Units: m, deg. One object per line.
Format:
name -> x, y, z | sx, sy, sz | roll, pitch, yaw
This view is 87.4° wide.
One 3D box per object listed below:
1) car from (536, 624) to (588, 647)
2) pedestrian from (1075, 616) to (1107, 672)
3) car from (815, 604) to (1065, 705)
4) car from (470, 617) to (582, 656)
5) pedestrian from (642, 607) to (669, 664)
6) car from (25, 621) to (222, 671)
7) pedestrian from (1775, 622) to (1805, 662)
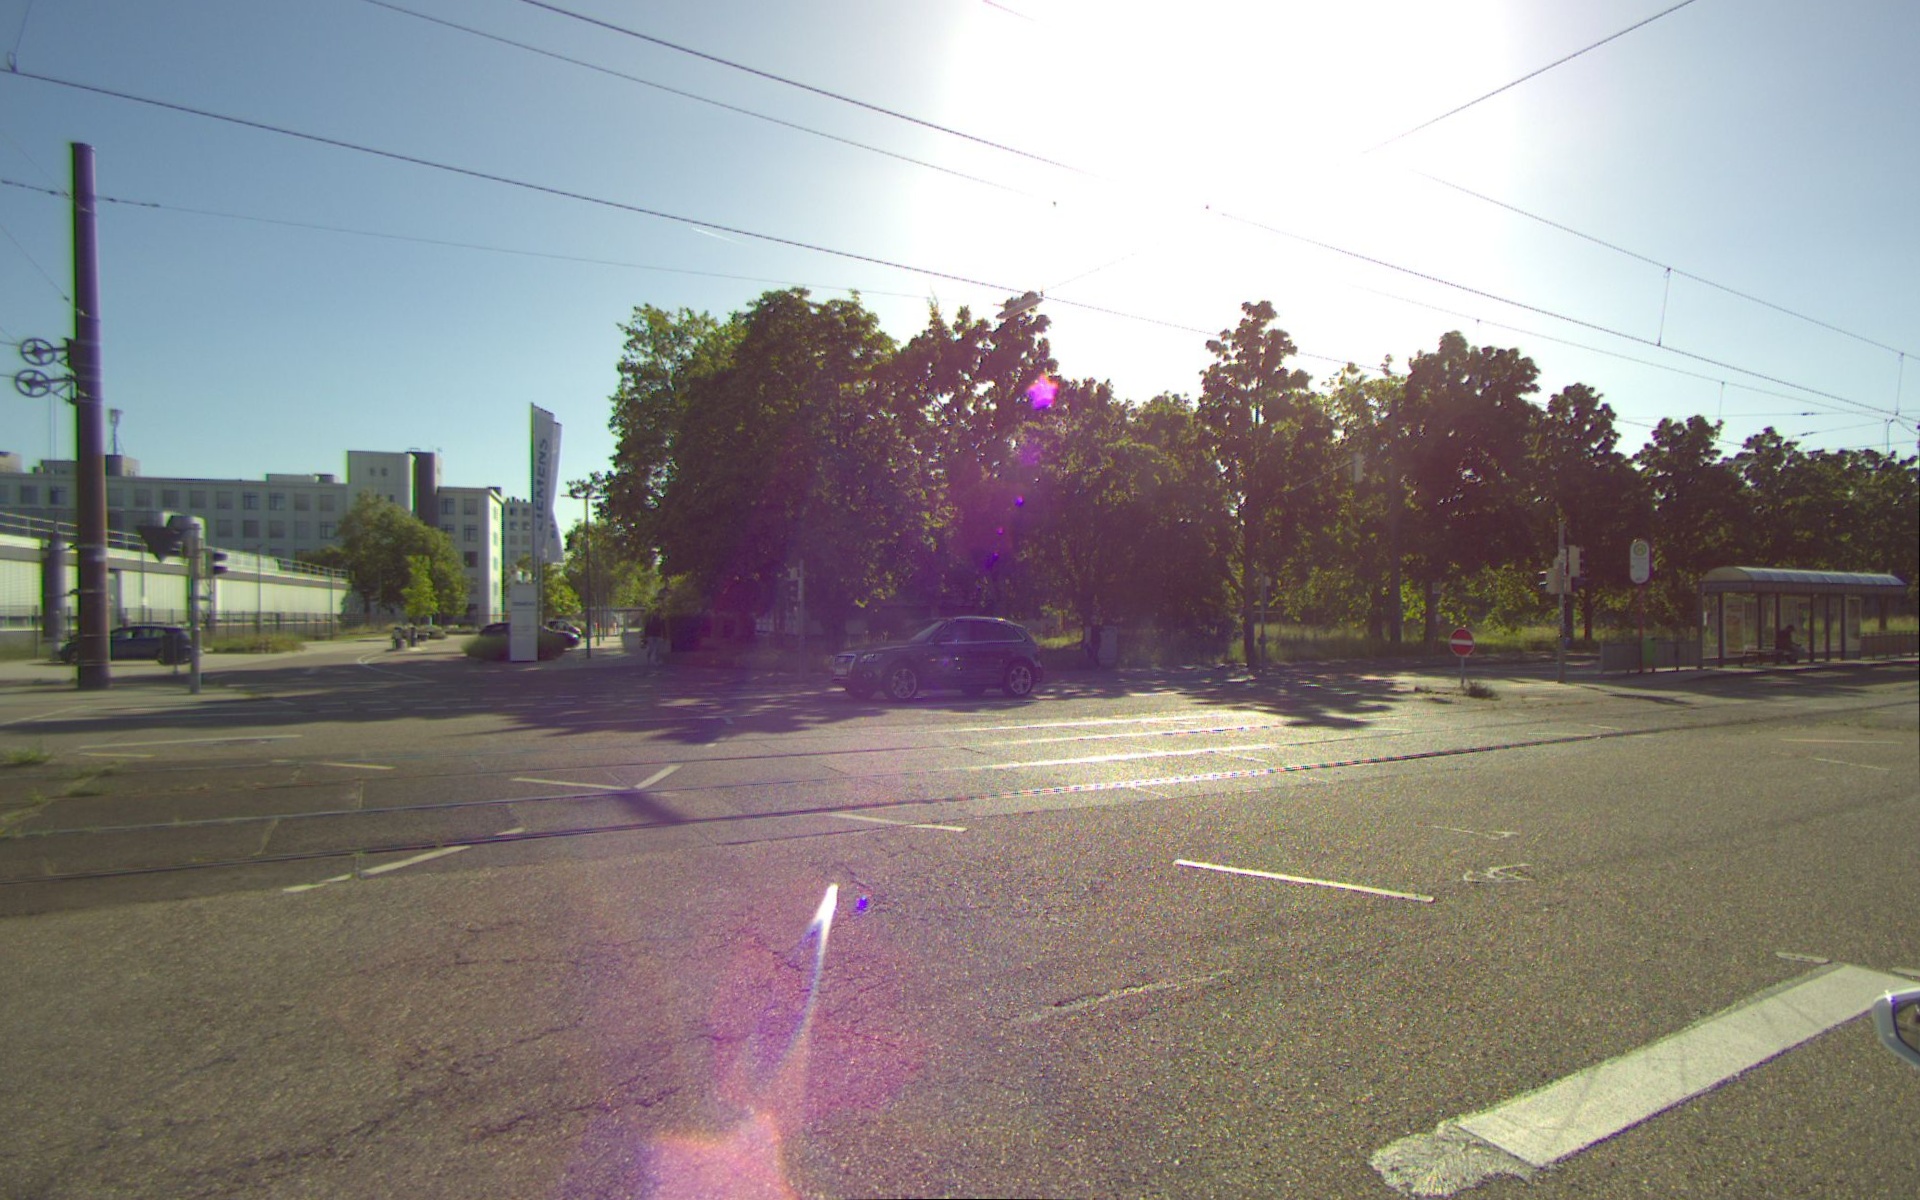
car -> -29.919, 2.662, 75.570 | 3.566, 1.611, 1.792 | 1, -1, -23
pedestrian -> 4.235, 1.409, 32.422 | 0.919, 1.757, 0.761 | 0, -1, -2
car -> -0.360, 1.052, 20.525 | 4.740, 1.834, 2.082 | 0, -2, -33
car -> -20.521, 1.738, 47.721 | 4.768, 1.751, 2.041 | 1, 0, -22
pedestrian -> -9.744, 1.123, 32.141 | 0.807, 1.811, 0.950 | 0, -1, -16
car -> -31.378, 1.722, 37.899 | 5.210, 1.772, 2.164 | 1, 0, -19
pedestrian -> 26.487, 1.351, 32.062 | 0.574, 1.273, 0.561 | 1, -3, -31
